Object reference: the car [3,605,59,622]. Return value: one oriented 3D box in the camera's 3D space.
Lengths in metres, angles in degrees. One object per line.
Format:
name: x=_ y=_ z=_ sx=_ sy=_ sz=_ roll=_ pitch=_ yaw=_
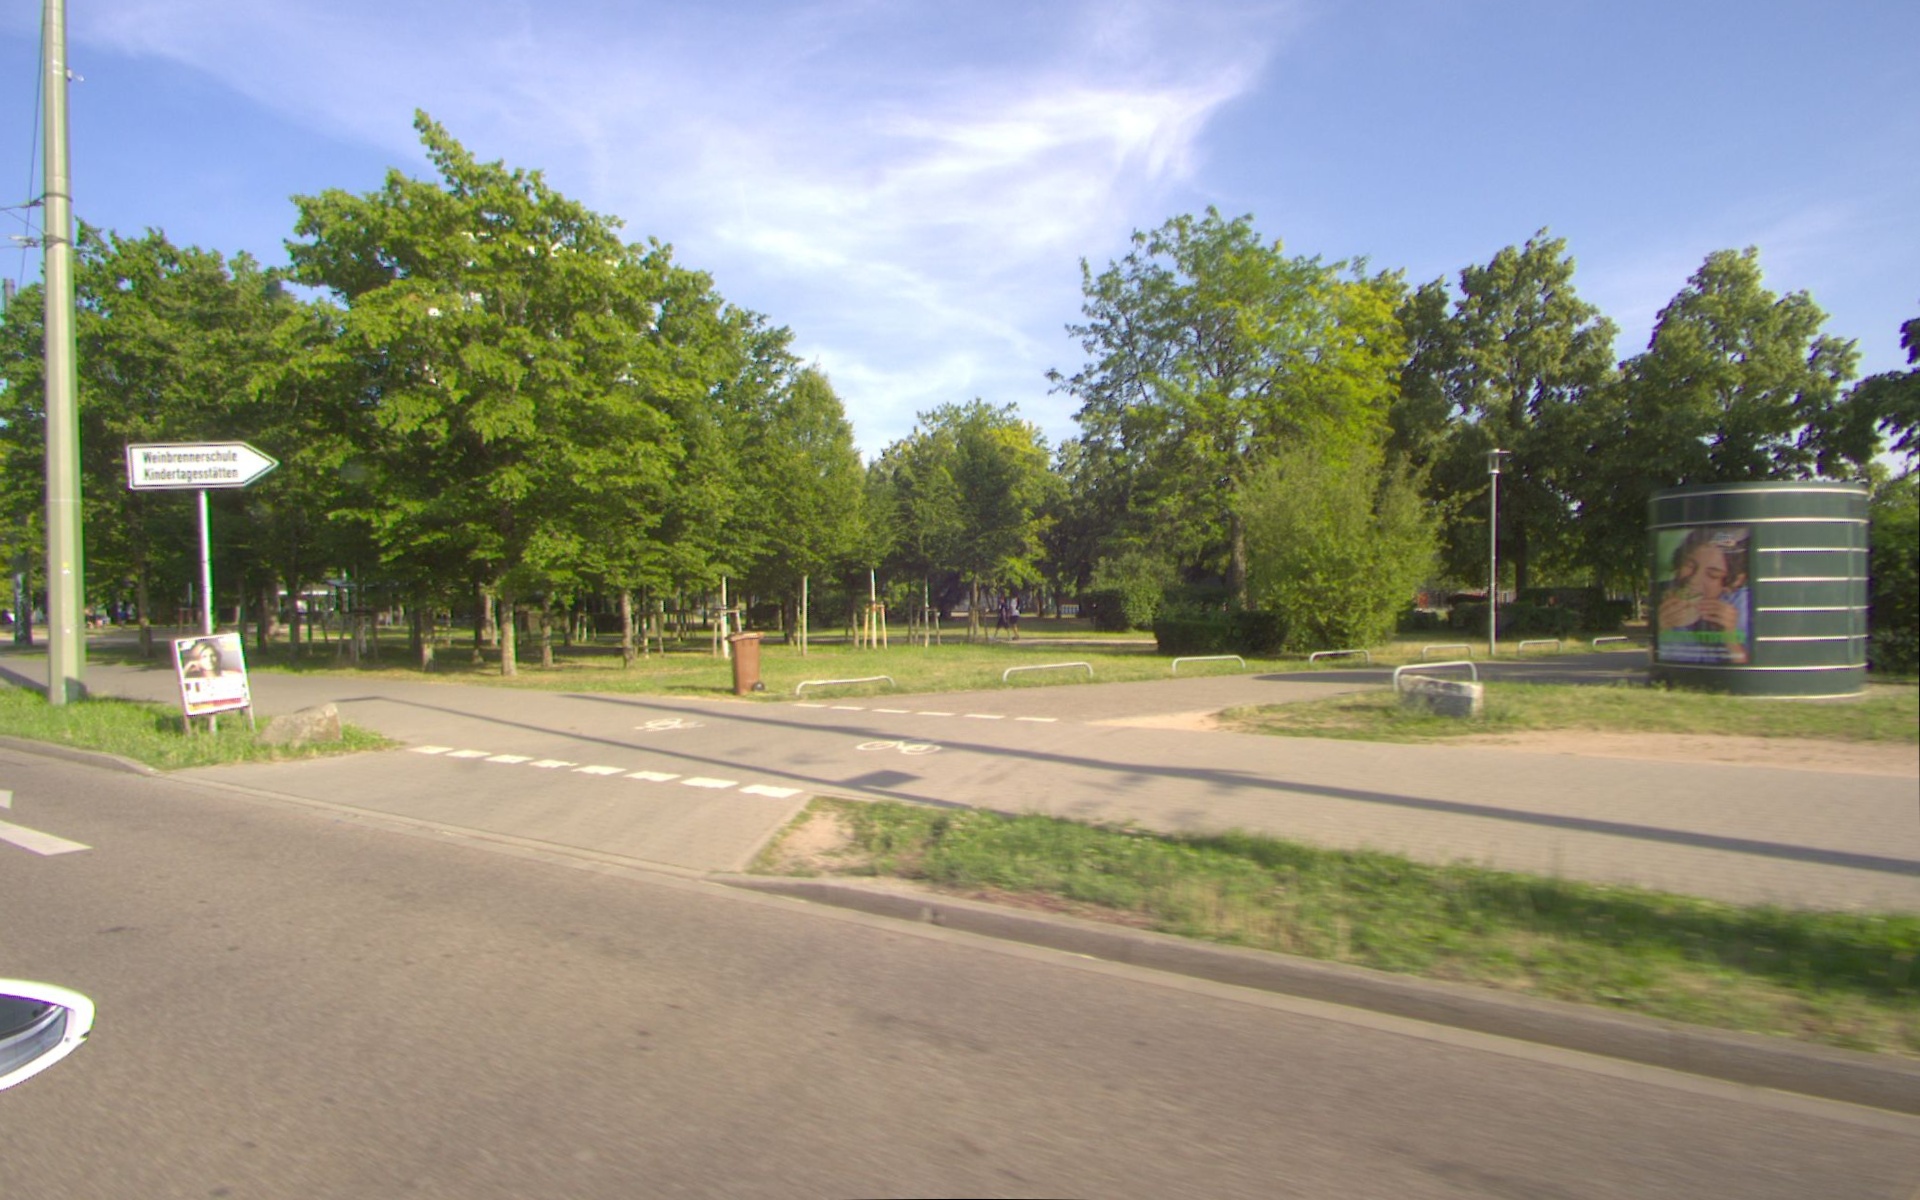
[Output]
car: x=-97.842 y=1.388 z=105.481 sx=1.961 sy=1.673 sz=3.999 roll=-1 pitch=0 yaw=6
